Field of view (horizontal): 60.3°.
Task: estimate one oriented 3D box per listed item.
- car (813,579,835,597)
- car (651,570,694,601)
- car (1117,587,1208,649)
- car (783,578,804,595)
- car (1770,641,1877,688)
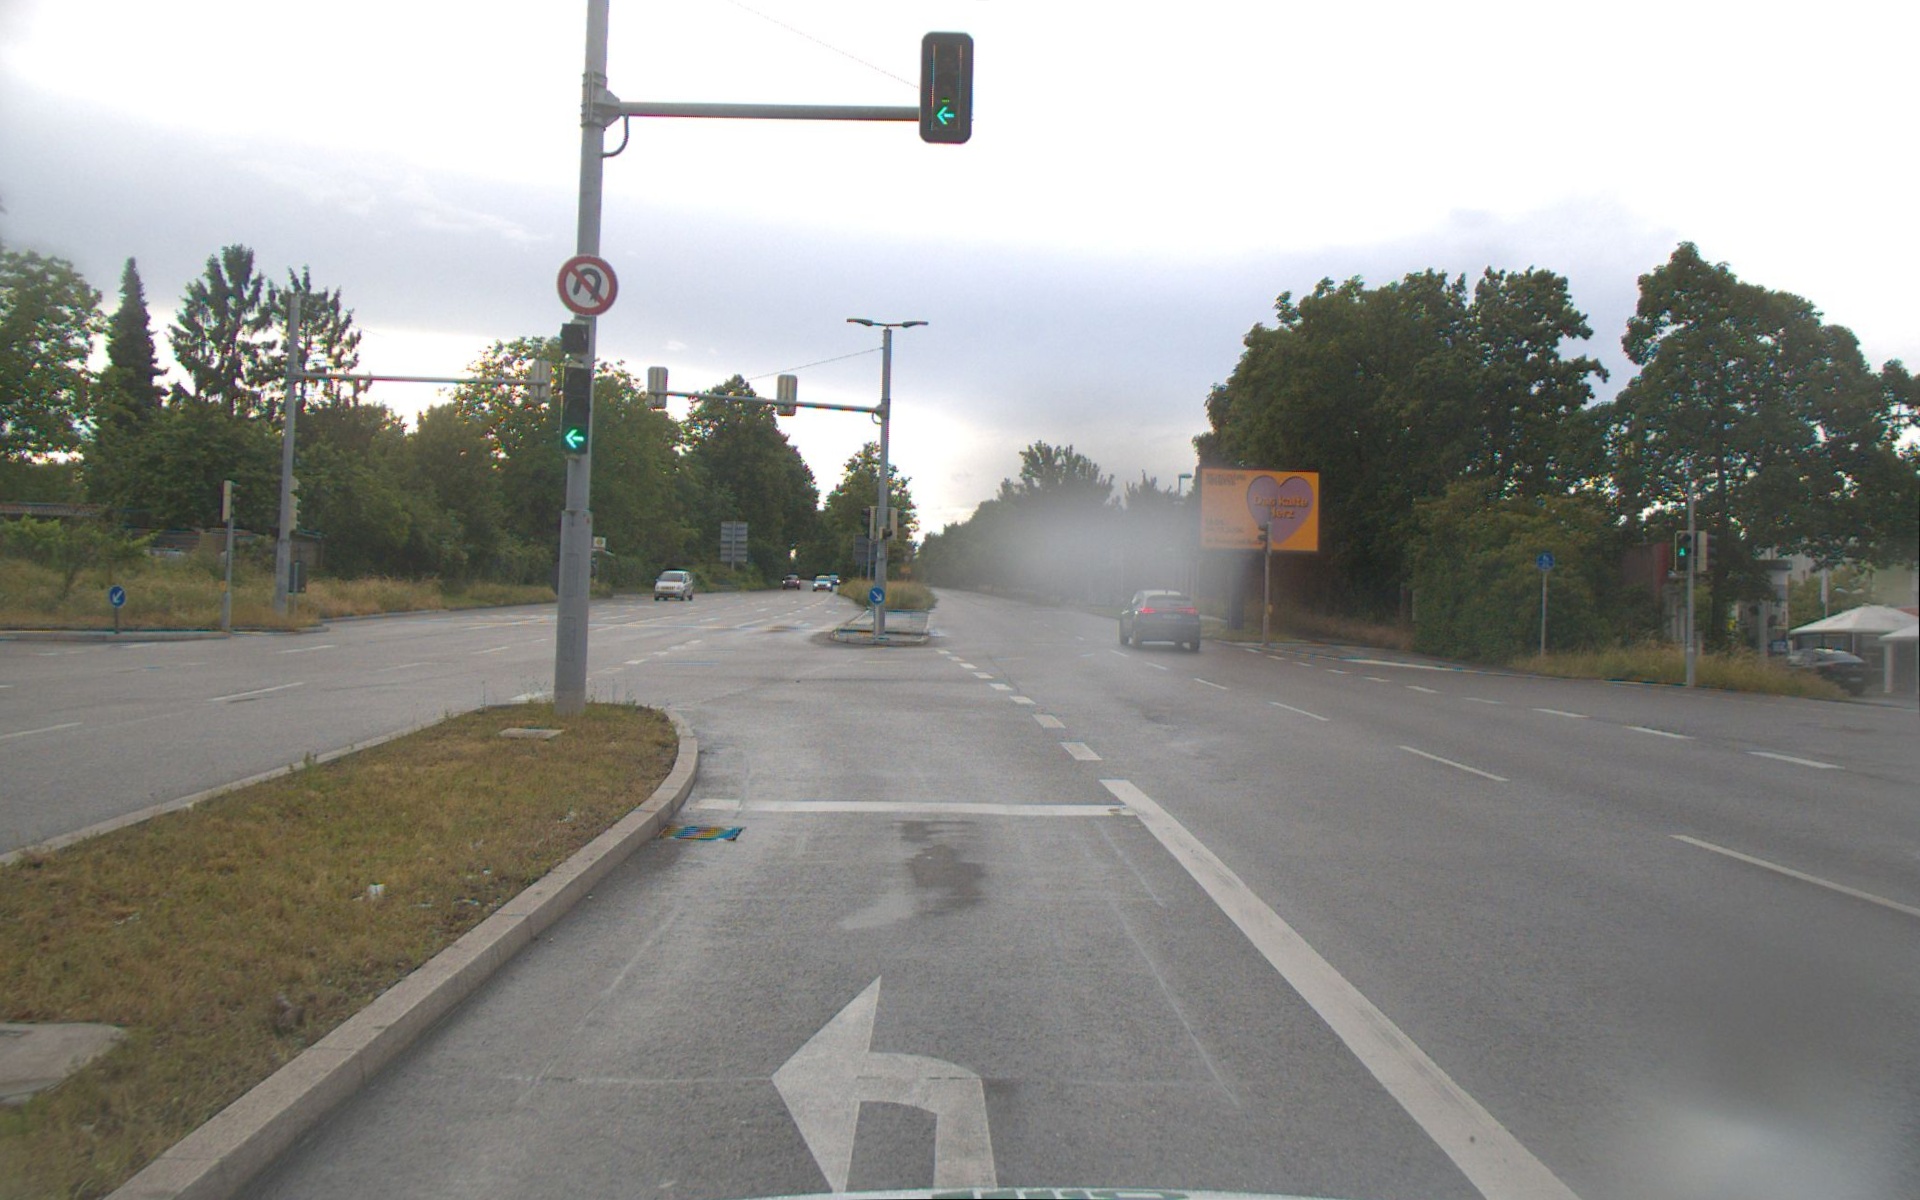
[{"bbox_3d":[-12.797,-1.130,155.615,1.856,1.561,4.487,2,0,-2],"label":"car"},{"bbox_3d":[-16.171,-0.820,93.116,1.733,1.624,4.487,2,0,-2],"label":"car"},{"bbox_3d":[5.252,0.442,43.373,1.710,1.495,4.164,2,0,-2],"label":"car"},{"bbox_3d":[-17.242,-1.371,171.231,1.856,1.624,4.487,2,0,-2],"label":"car"},{"bbox_3d":[32.578,2.403,62.500,1.741,1.614,4.140,3,-2,-2],"label":"car"}]
